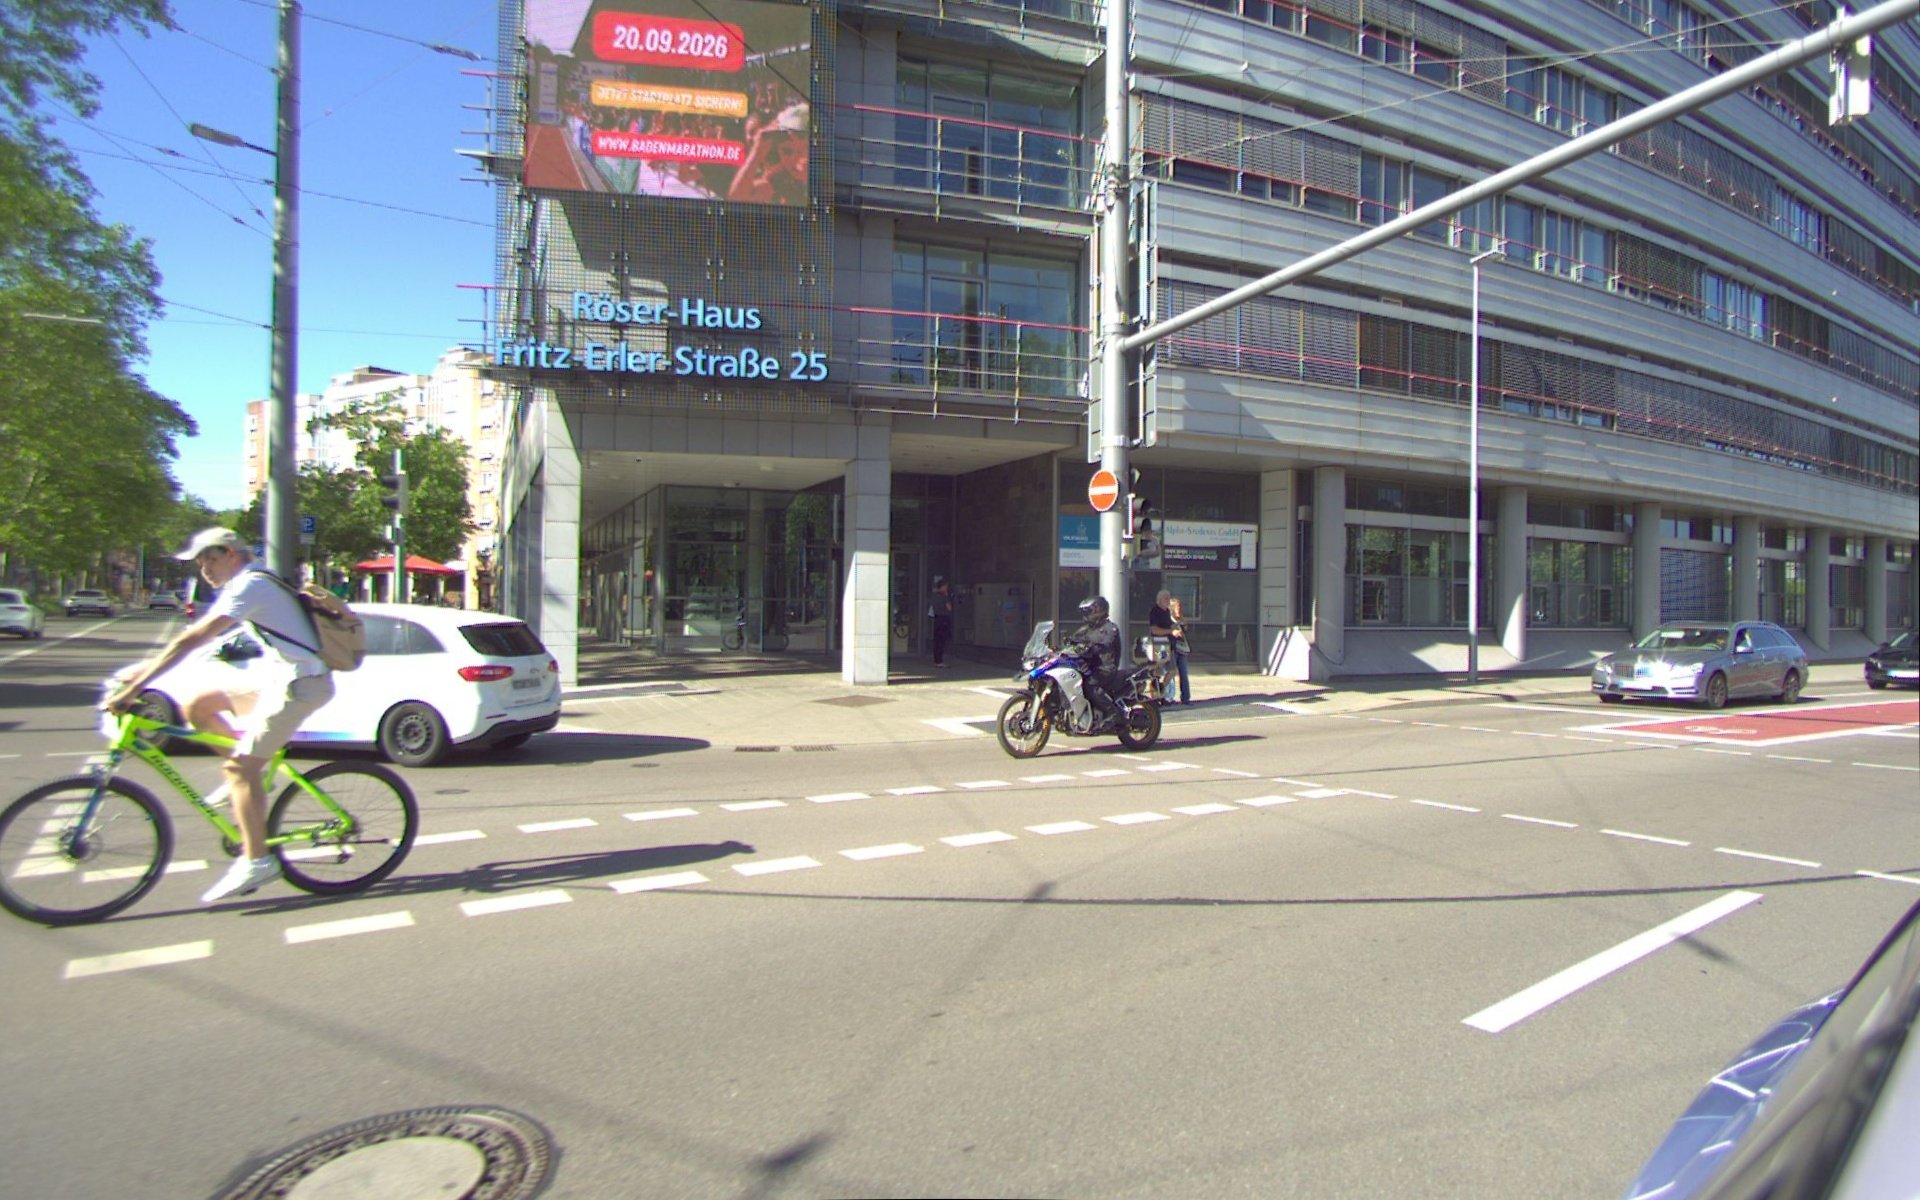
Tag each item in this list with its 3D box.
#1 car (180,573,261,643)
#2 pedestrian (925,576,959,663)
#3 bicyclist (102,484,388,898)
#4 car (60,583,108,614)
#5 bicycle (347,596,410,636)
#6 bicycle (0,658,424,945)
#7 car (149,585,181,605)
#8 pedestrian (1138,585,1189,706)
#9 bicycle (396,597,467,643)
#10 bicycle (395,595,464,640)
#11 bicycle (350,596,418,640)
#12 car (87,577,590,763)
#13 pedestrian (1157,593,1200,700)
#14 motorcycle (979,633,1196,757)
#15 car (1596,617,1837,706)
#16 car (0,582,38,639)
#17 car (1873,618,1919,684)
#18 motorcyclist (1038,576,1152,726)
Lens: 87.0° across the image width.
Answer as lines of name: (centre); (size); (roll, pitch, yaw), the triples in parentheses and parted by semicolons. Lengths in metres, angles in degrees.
car: (-21.565, 0.185, 29.476); (1.787, 1.875, 4.387); (0, 0, -37)
pedestrian: (-0.379, 0.402, 21.251); (0.534, 1.807, 0.475); (1, 0, -41)
bicyclist: (-3.387, 0.395, 4.887); (1.025, 1.775, 0.651); (2, -1, -32)
car: (-47.356, -0.098, 54.725); (1.879, 1.603, 3.994); (0, 0, -41)
bicycle: (-18.552, 0.507, 32.306); (1.697, 1.235, 0.469); (0, 0, -34)
bicycle: (-3.549, 0.866, 4.789); (1.723, 1.124, 0.651); (1, -1, -32)
car: (-65.013, -0.387, 82.721); (1.879, 1.603, 3.994); (0, 0, -41)
pedestrian: (3.175, 0.684, 15.785); (0.602, 1.821, 0.634); (2, 0, 26)
bicycle: (-14.408, 0.527, 27.609); (1.697, 1.235, 0.469); (0, 0, -34)
bicycle: (-15.107, 0.490, 28.828); (1.697, 1.235, 0.469); (0, 0, -34)
bicycle: (-16.765, 0.510, 29.487); (1.697, 1.235, 0.469); (0, 0, -34)
car: (-6.250, 0.668, 10.498); (4.065, 1.604, 1.909); (2, -2, 5)
pedestrian: (3.506, 0.736, 16.232); (0.556, 1.666, 0.425); (2, 0, 26)
motorcycle: (1.435, 0.996, 11.241); (2.342, 1.216, 0.832); (0, -1, -29)
car: (13.730, 1.028, 18.308); (4.691, 1.414, 1.729); (0, 0, -29)
car: (-28.416, 0.324, 29.642); (1.878, 1.604, 3.992); (3, -3, -41)
car: (23.132, 1.141, 23.323); (4.543, 1.440, 1.729); (0, -1, -29)
motorcyclist: (1.486, 0.539, 11.212); (0.923, 1.581, 0.832); (0, -1, -28)
